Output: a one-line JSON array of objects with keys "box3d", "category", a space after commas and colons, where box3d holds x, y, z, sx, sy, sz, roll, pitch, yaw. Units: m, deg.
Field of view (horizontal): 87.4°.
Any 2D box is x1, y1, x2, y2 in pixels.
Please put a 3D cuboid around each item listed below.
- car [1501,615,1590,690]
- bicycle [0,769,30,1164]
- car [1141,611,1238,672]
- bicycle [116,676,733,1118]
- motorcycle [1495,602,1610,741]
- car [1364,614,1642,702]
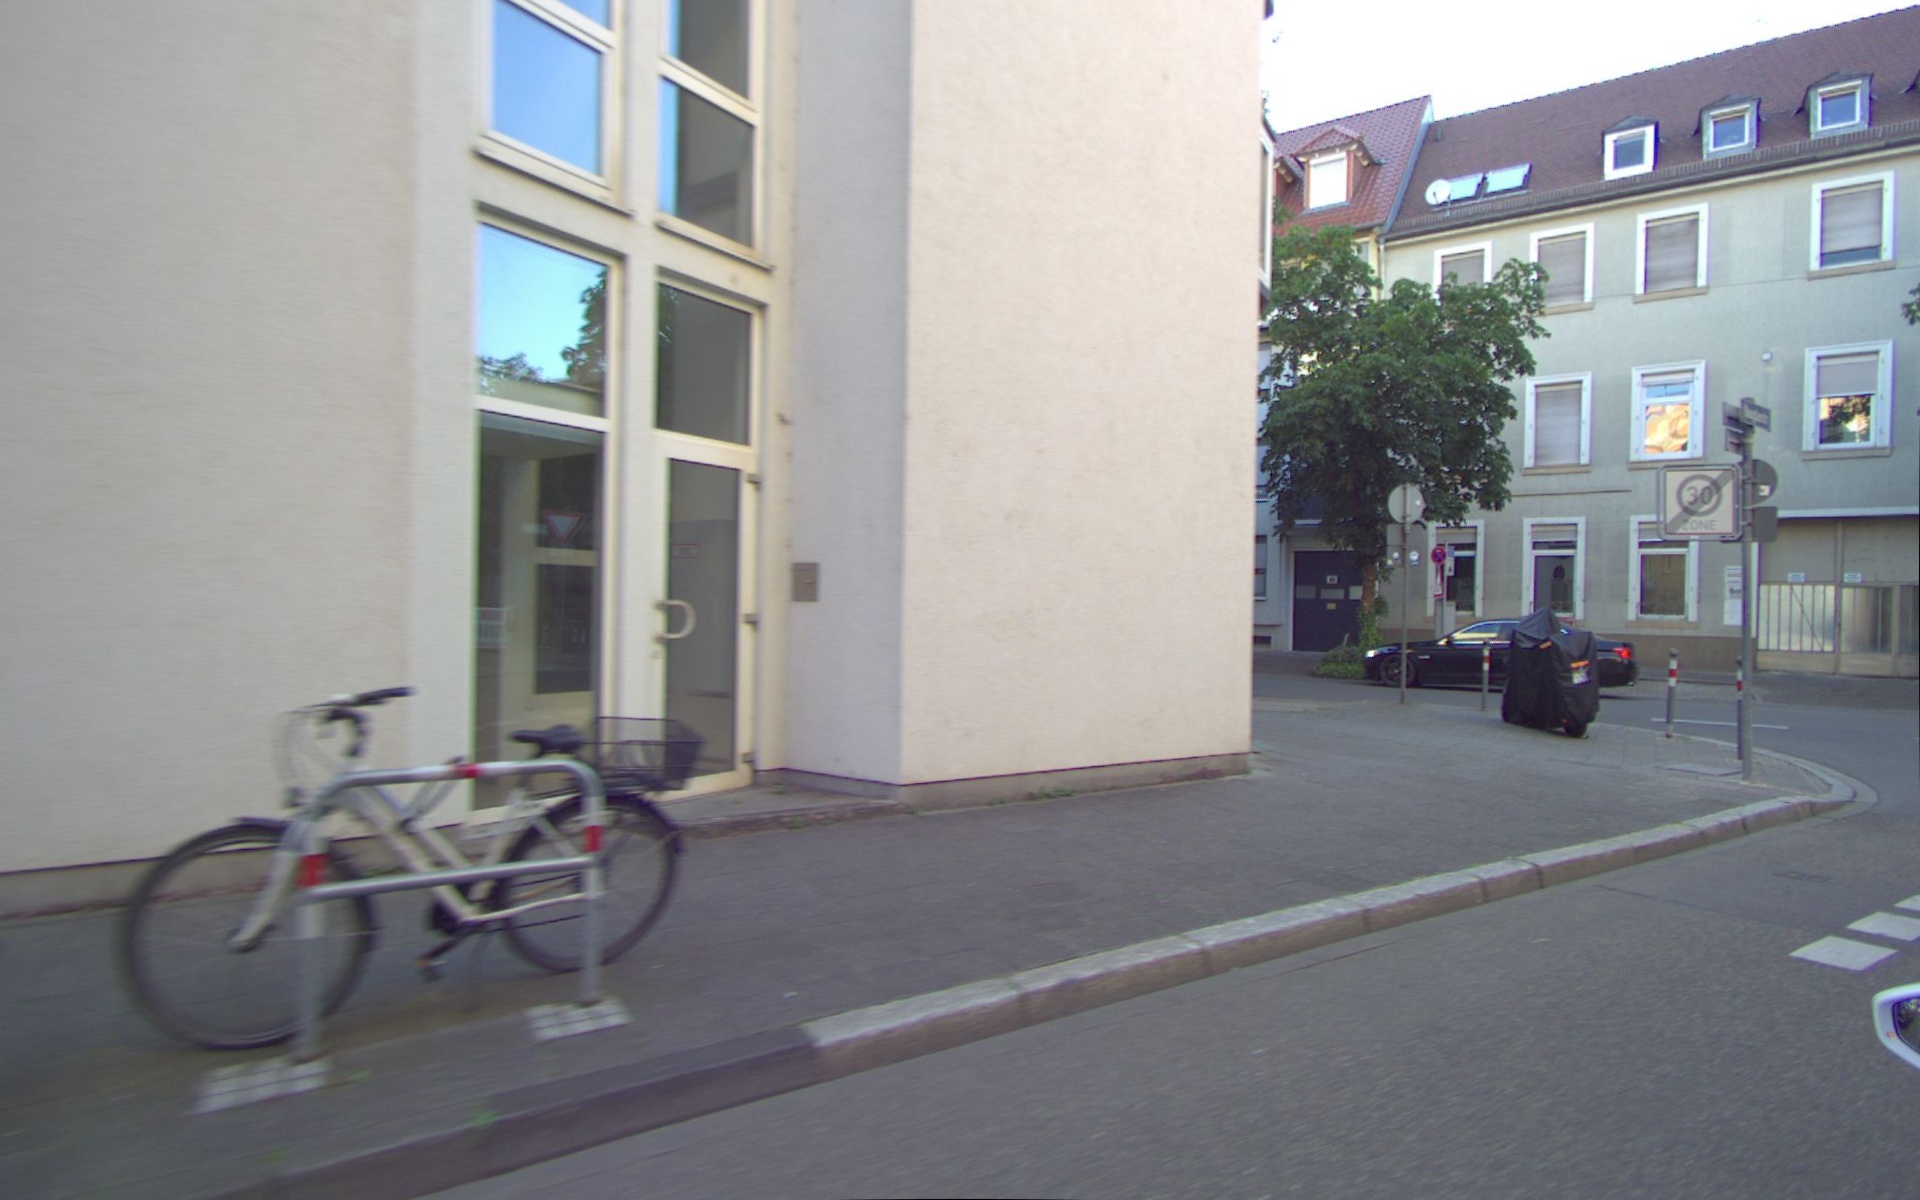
[{"box3d": [13.259, 1.115, 22.673, 1.539, 1.495, 3.657, 1, 0, 33], "category": "car"}, {"box3d": [-3.181, 0.925, 2.089, 1.797, 0.944, 0.304, 1, 0, -38], "category": "bicycle"}, {"box3d": [6.424, 1.090, 27.894, 1.598, 1.447, 3.707, 1, 2, 30], "category": "car"}, {"box3d": [-1.700, 0.860, 3.441, 1.797, 1.117, 0.397, 1, 0, -39], "category": "bicycle"}, {"box3d": [7.347, 0.829, 12.567, 0.656, 1.576, 2.163, 1, -1, 15], "category": "motorcycle"}, {"box3d": [10.511, 1.056, 19.649, 4.587, 1.469, 1.764, 1, -1, 33], "category": "car"}]
